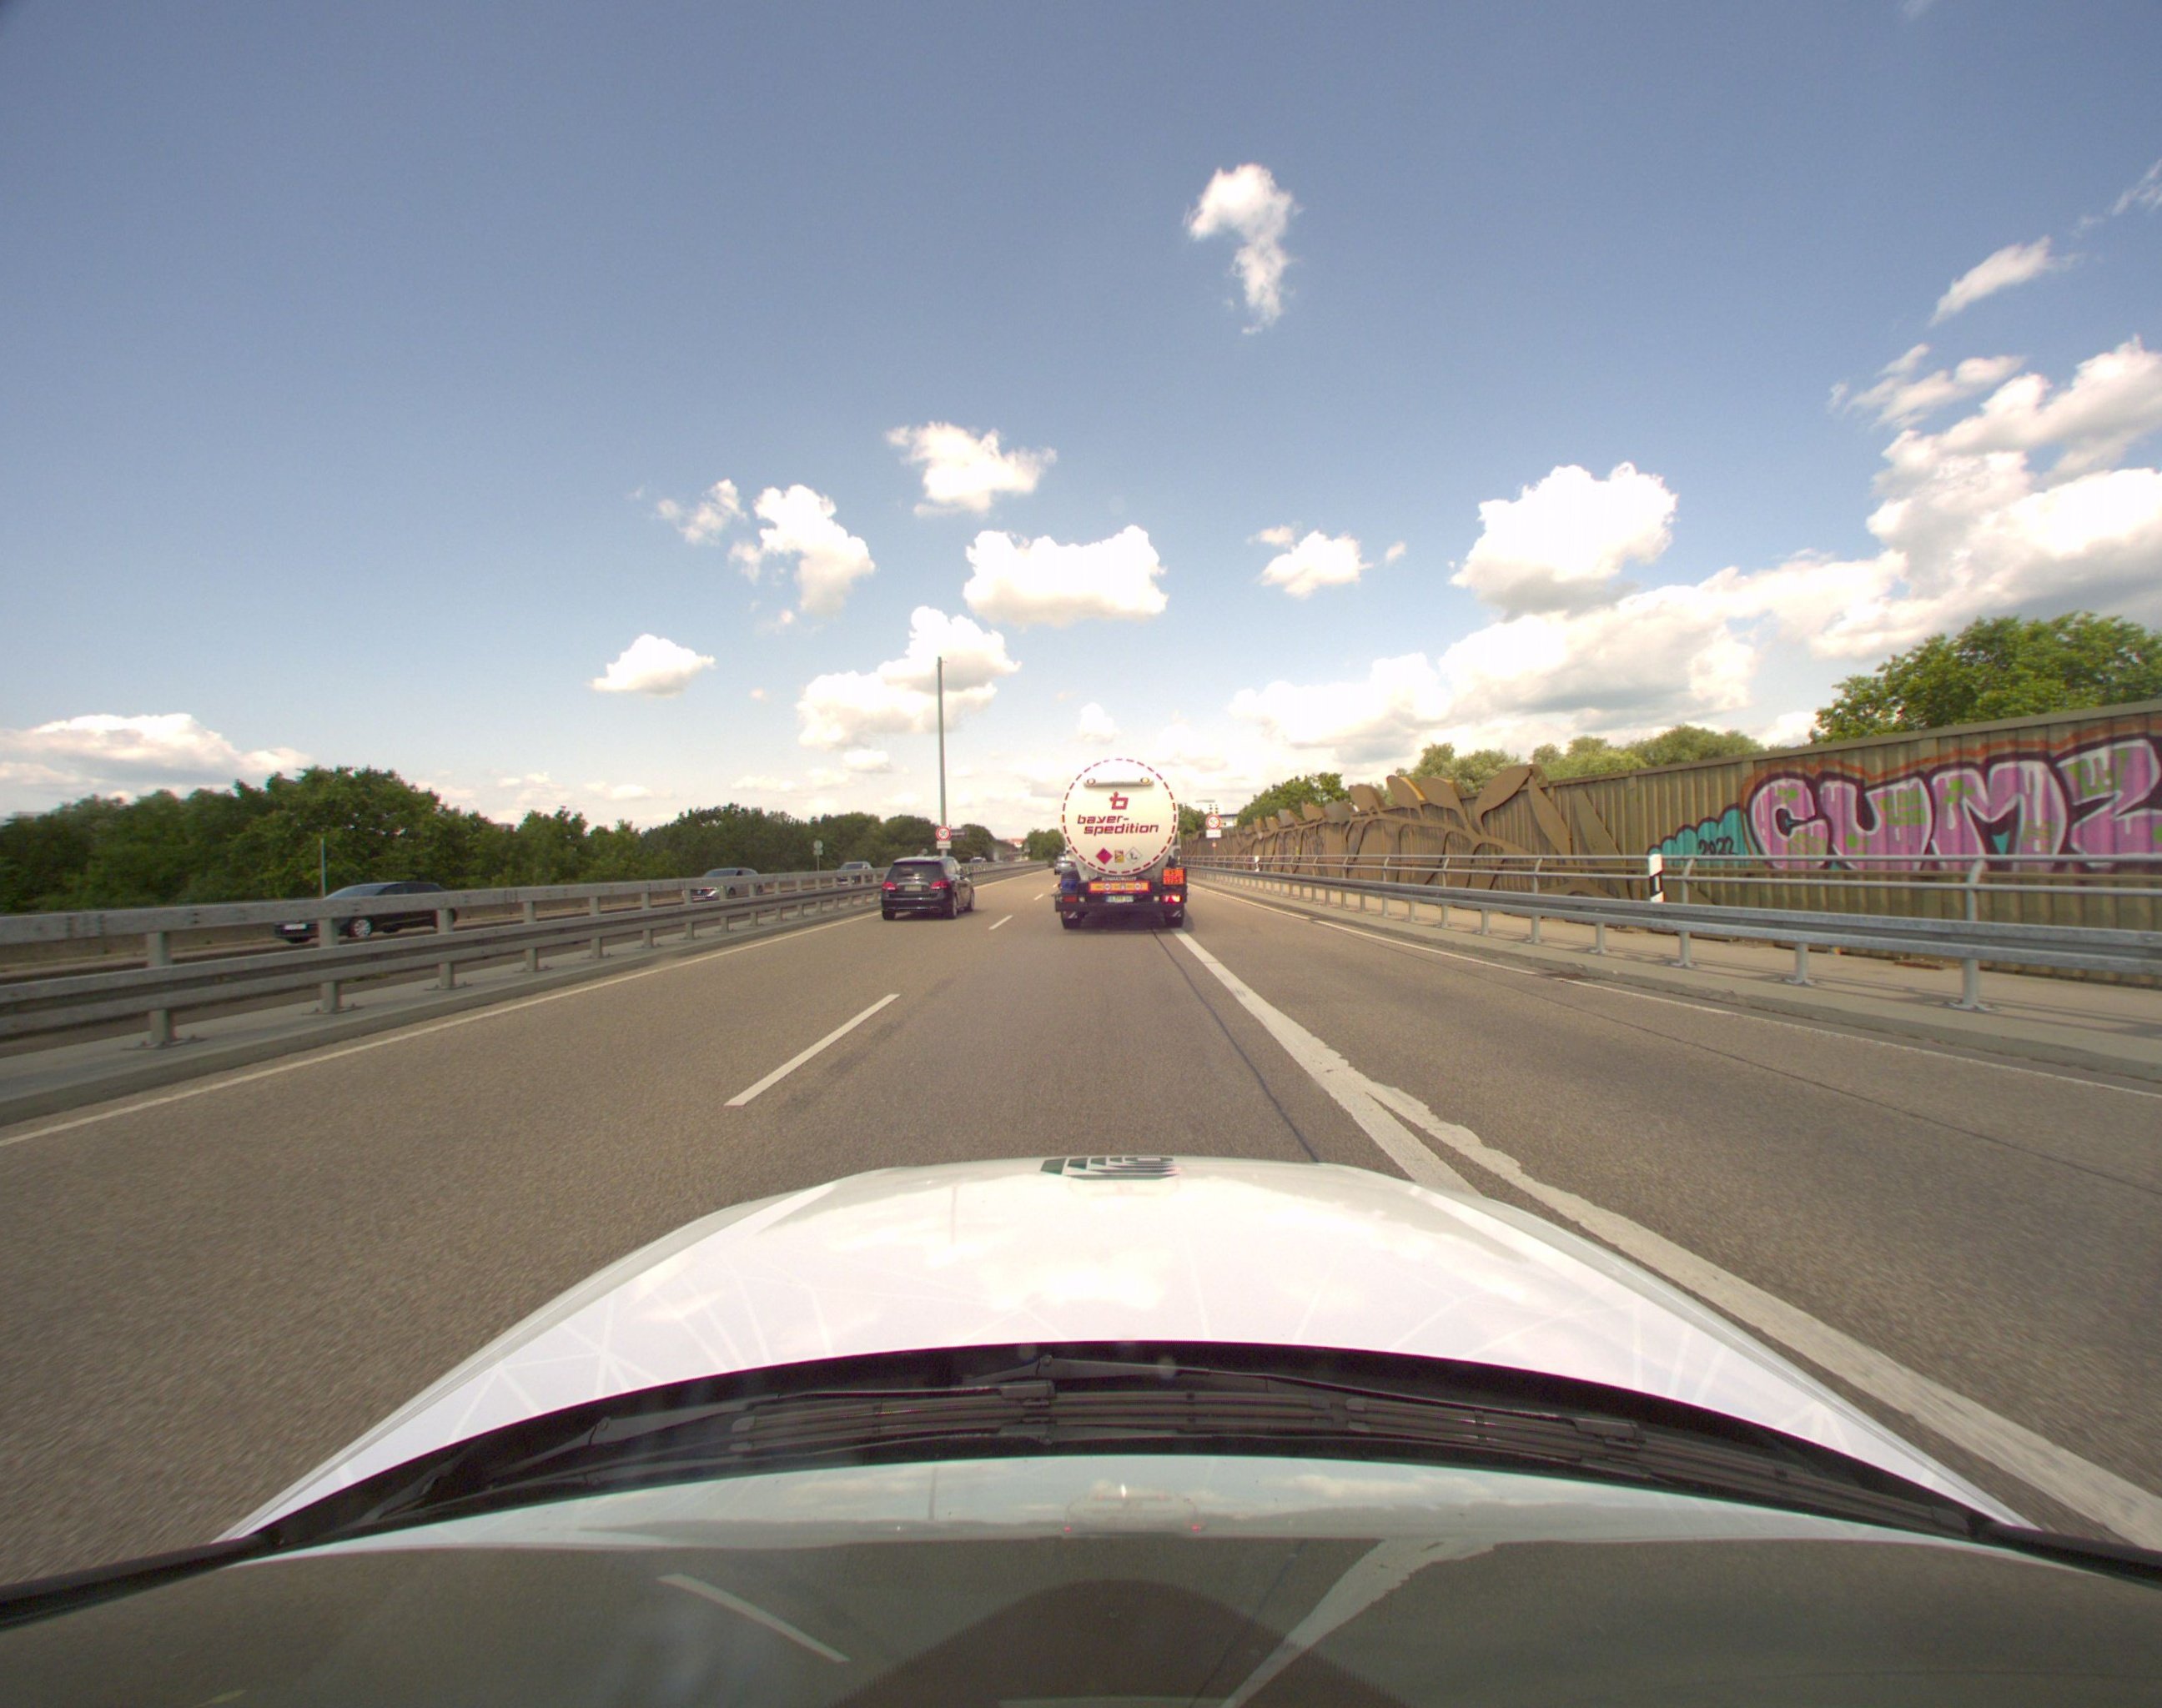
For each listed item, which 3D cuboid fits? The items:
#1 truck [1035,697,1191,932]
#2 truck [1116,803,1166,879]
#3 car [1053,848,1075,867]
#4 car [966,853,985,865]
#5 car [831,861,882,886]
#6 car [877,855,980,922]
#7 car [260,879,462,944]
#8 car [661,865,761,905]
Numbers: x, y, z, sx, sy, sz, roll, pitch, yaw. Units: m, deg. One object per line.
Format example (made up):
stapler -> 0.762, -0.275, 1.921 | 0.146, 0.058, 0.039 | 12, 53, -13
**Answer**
truck -> 0.791, -0.740, 19.200 | 2.883, 4.368, 8.035 | 0, 0, 3
truck -> 4.011, -0.838, 55.968 | 2.885, 4.807, 8.029 | 0, 0, 0
car -> -1.464, 0.262, 70.970 | 1.741, 1.531, 4.001 | -1, 1, 1
car -> -14.435, 0.634, 111.543 | 1.987, 1.640, 4.000 | 0, 0, 0
car -> -14.533, 1.211, 52.953 | 1.905, 1.464, 4.520 | -2, 0, 2
car -> -3.821, 0.800, 21.155 | 1.705, 1.527, 4.594 | 0, 0, 1
car -> -18.764, 1.443, 21.504 | 1.672, 1.401, 4.001 | -2, 0, 1
car -> -14.840, 1.194, 32.997 | 1.770, 1.420, 4.624 | -1, 0, 2
